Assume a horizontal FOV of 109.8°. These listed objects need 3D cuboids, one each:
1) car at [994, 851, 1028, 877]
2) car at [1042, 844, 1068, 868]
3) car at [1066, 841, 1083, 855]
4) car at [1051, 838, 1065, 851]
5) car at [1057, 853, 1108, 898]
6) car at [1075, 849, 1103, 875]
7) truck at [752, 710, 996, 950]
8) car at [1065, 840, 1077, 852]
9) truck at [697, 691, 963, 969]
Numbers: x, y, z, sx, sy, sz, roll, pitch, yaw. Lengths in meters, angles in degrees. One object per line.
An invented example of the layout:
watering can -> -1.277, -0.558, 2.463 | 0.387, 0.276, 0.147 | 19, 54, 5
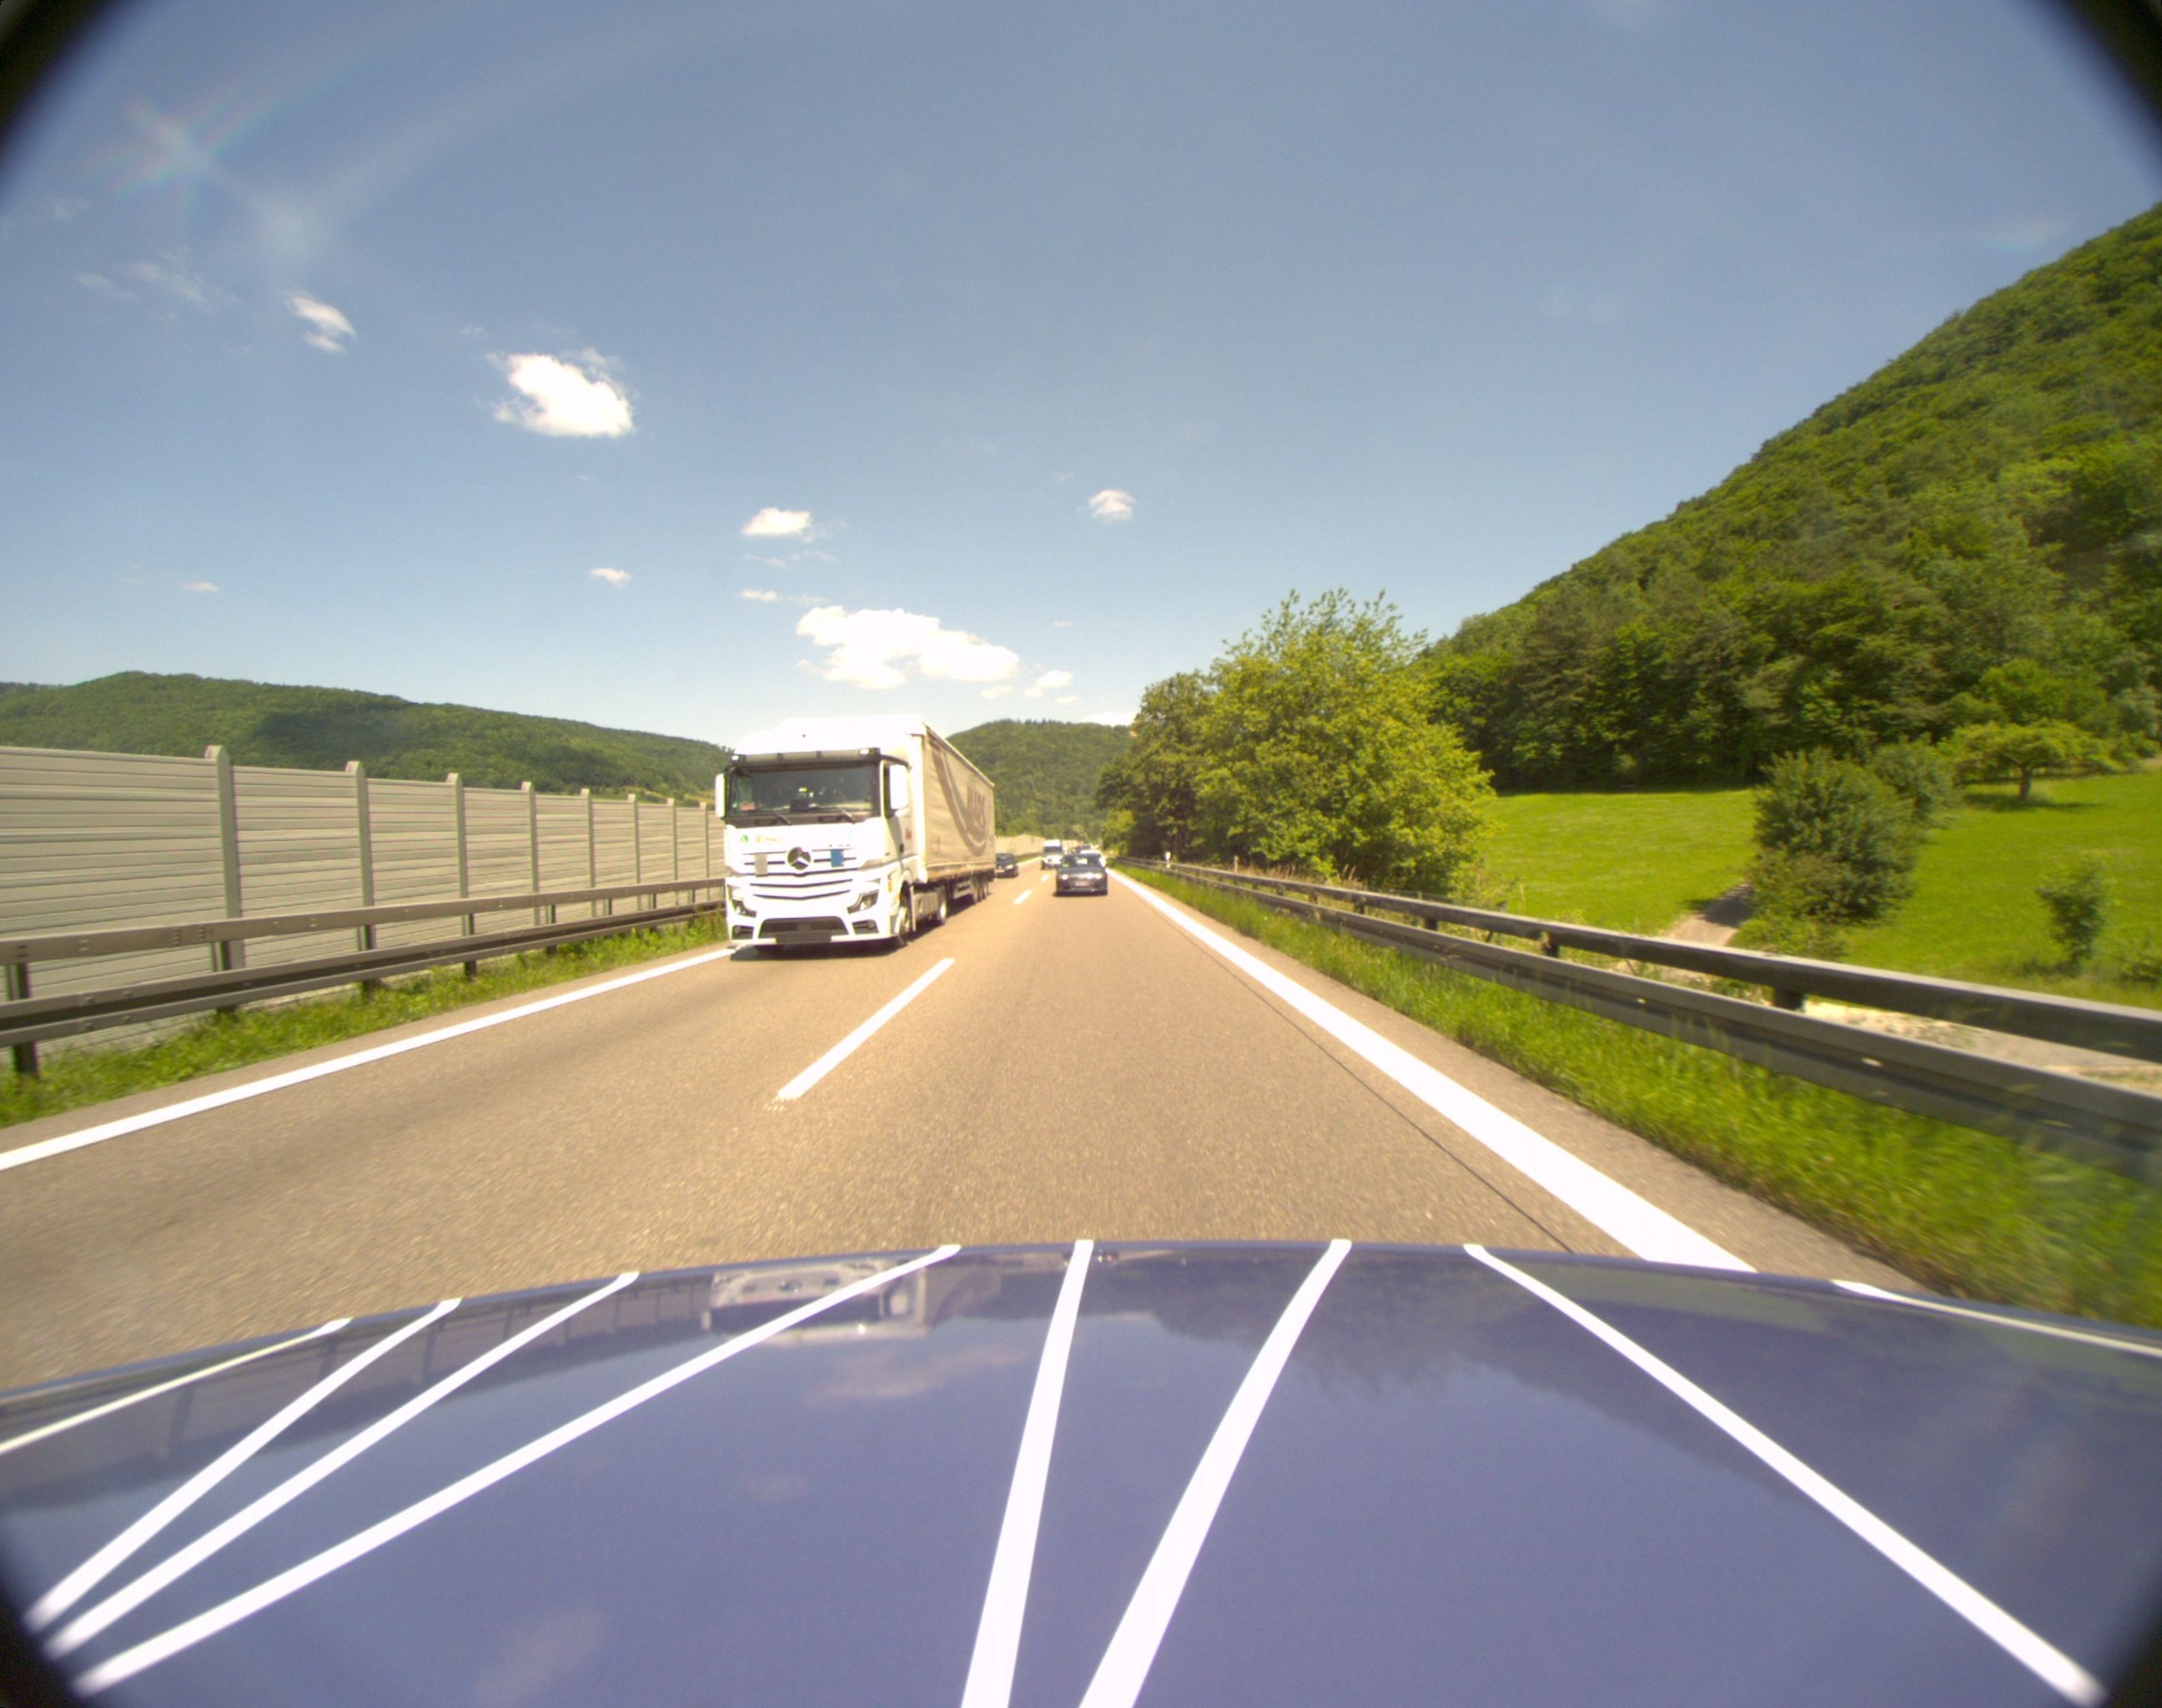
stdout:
car -> -4.048, 0.545, 44.534 | 1.662, 1.405, 3.474 | 1, 1, 0
car -> -2.053, 0.161, 60.594 | 2.044, 1.855, 3.999 | 0, 0, -2
car -> -0.834, -0.745, 94.141 | 1.800, 1.508, 3.718 | 5, 1, -4
car -> -3.609, -1.488, 120.115 | 1.998, 1.892, 4.000 | 2, 0, 0
car -> 0.043, 0.698, 26.335 | 1.662, 1.435, 3.475 | 0, 0, 0
car -> 0.500, 0.479, 49.104 | 1.715, 1.541, 3.999 | 1, 1, -1
truck -> -4.304, -0.479, 19.379 | 2.862, 4.124, 12.044 | -2, 1, 0
car -> -1.806, -1.458, 143.399 | 1.999, 2.002, 3.999 | 5, 2, 0
truck -> -4.143, -0.433, 14.390 | 2.764, 4.016, 6.821 | 0, 2, 0
